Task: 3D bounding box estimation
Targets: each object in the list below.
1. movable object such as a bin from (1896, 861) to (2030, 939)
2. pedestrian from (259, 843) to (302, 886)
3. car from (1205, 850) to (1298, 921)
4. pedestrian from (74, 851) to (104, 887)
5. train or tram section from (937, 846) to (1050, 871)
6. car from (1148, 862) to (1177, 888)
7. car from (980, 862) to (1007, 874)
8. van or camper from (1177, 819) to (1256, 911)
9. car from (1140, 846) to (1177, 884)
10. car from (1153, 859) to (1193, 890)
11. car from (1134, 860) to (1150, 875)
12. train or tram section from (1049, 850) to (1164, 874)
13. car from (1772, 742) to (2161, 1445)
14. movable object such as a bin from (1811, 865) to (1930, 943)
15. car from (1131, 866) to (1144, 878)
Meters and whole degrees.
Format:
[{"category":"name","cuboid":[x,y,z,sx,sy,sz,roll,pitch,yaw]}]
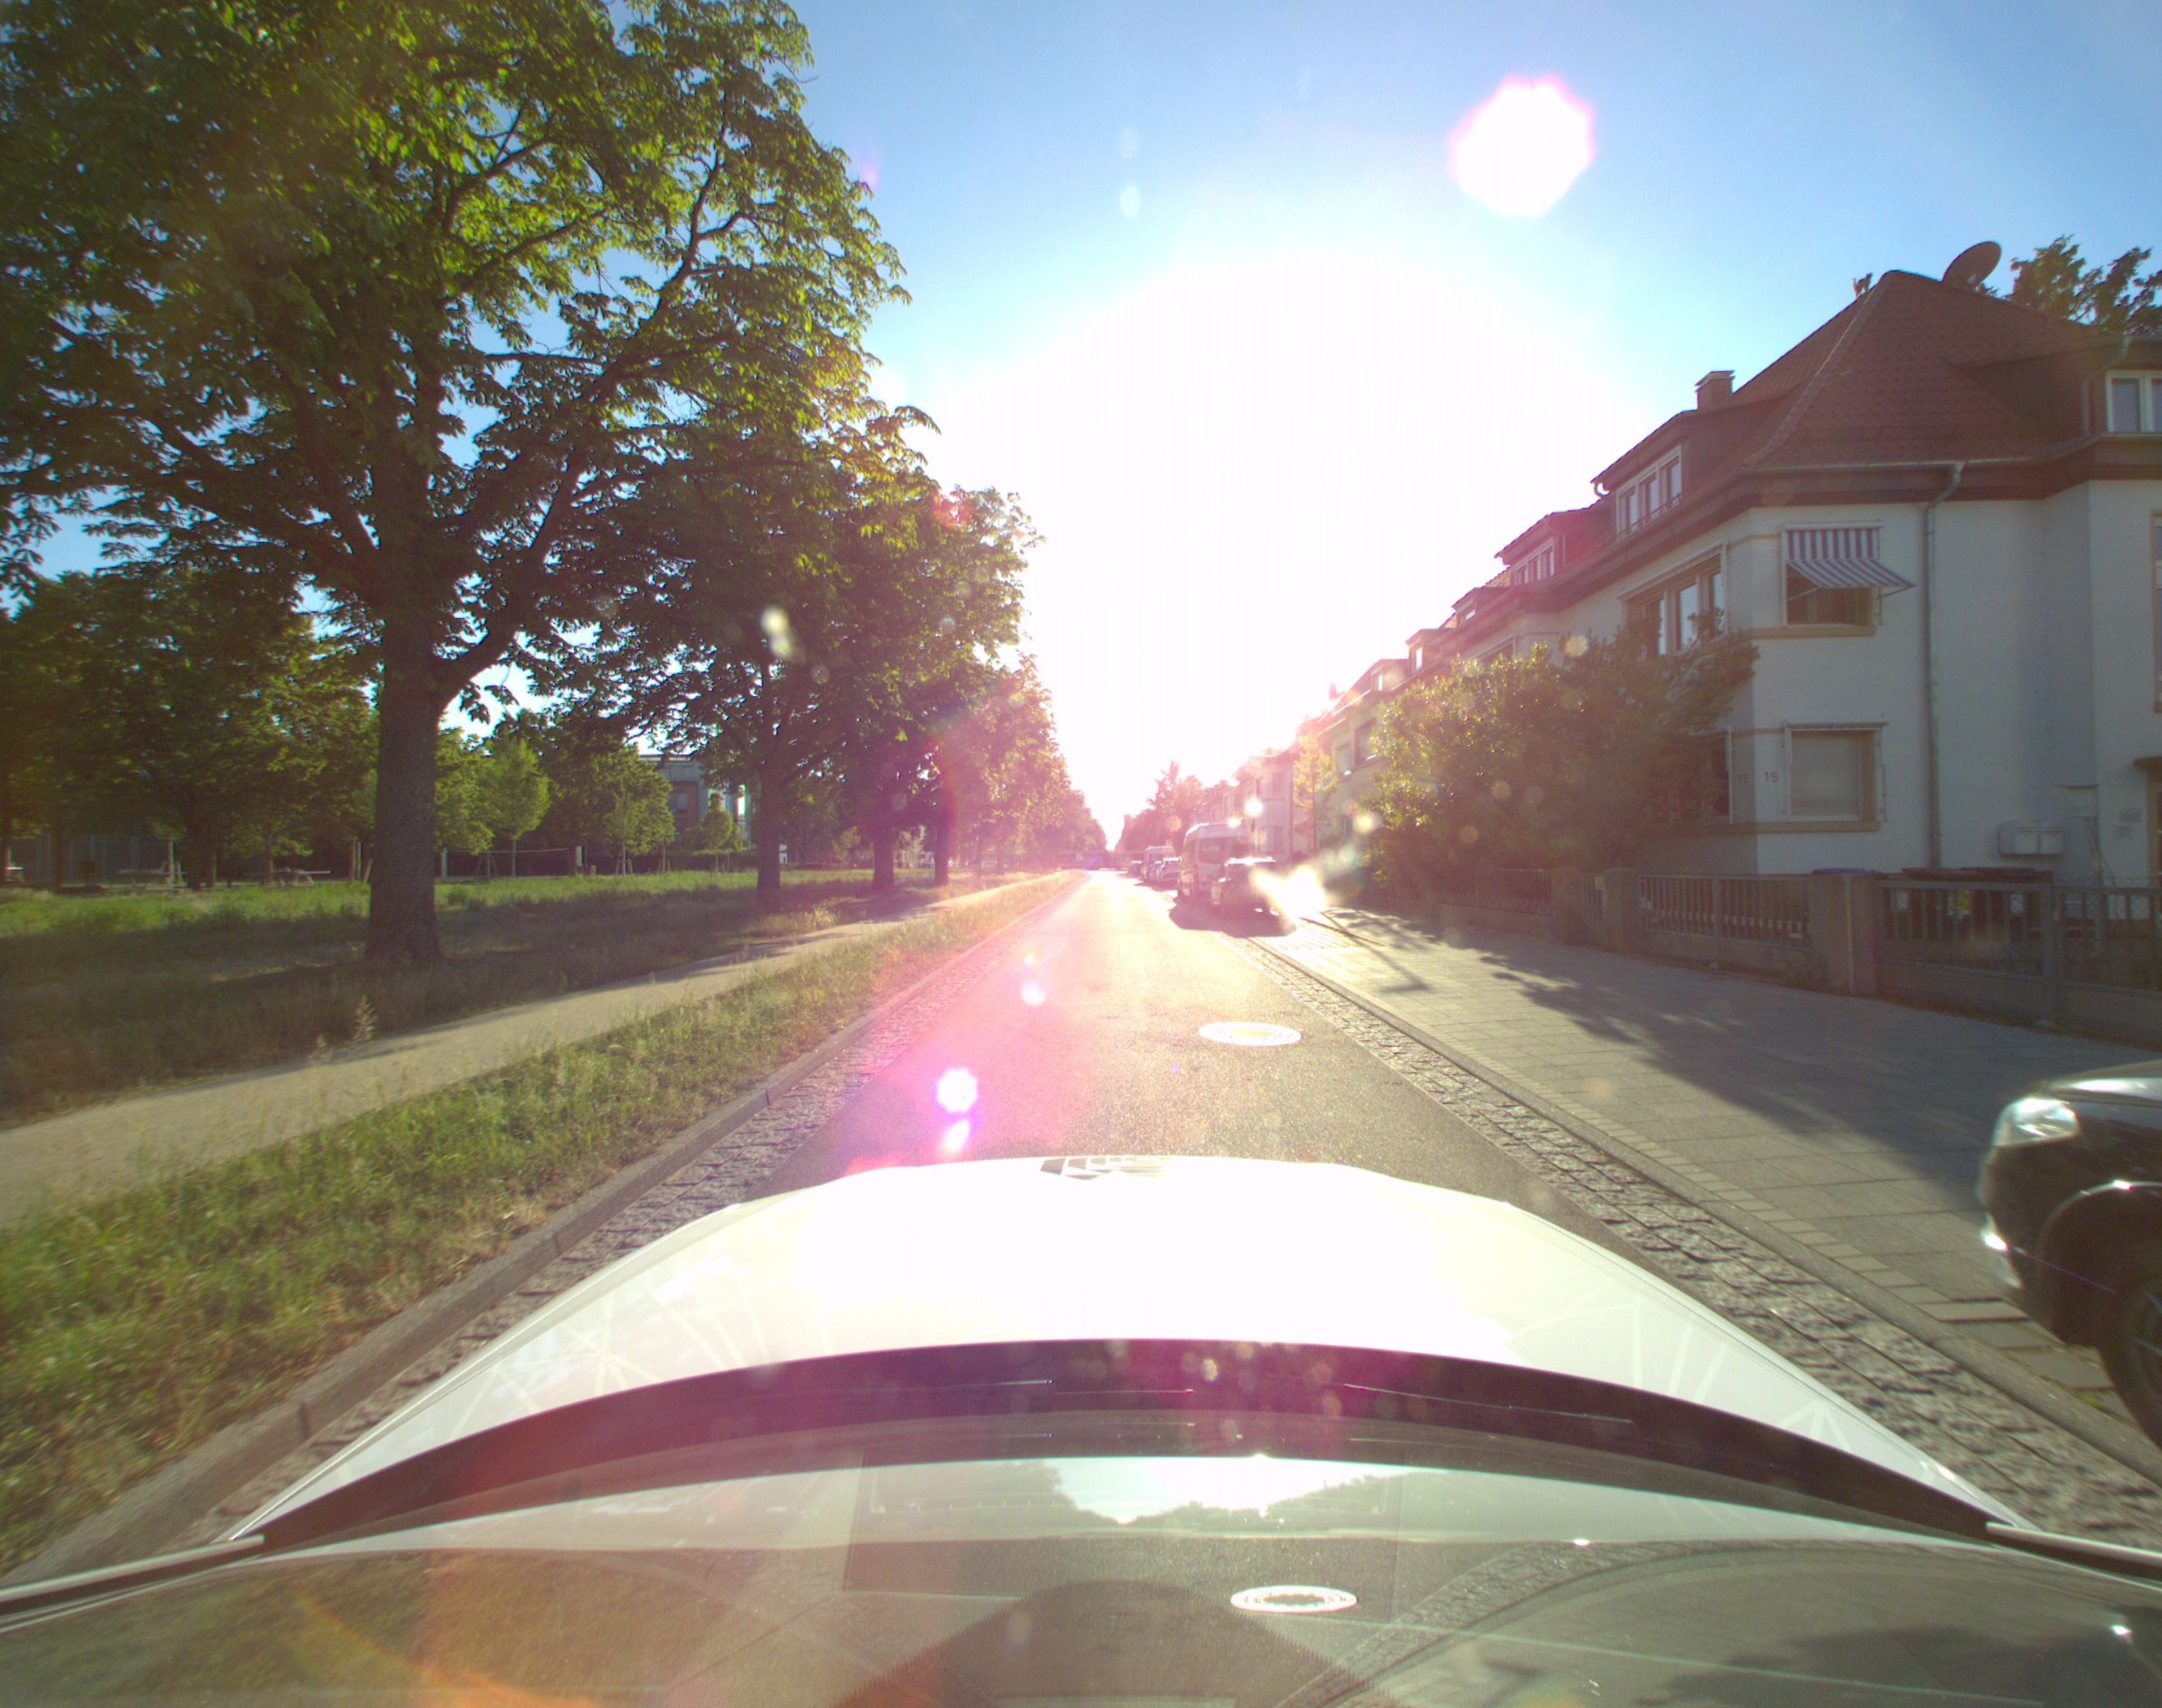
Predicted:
[{"category":"movable object such as a bin","cuboid":[12.960,0.662,11.998,1.079,1.100,0.790,0,-1,5]},{"category":"pedestrian","cuboid":[-35.410,0.455,36.017,1.044,1.881,0.798,0,-2,4]},{"category":"car","cuboid":[4.379,0.787,21.458,1.657,1.593,4.088,-3,-1,2]},{"category":"pedestrian","cuboid":[-41.933,0.642,34.427,0.587,1.479,0.499,1,-2,-8]},{"category":"train or tram section","cuboid":[-14.961,0.816,140.634,19.035,3.957,3.638,1,-1,-4]},{"category":"car","cuboid":[5.163,1.283,51.860,1.643,1.530,3.854,-2,-1,3]},{"category":"car","cuboid":[-14.120,2.267,131.620,4.341,1.764,1.995,1,-1,-7]},{"category":"van or camper","cuboid":[4.482,0.405,27.806,1.936,2.778,5.942,0,-2,2]},{"category":"car","cuboid":[5.460,0.777,58.020,2.119,2.533,5.187,-2,-1,0]},{"category":"car","cuboid":[5.211,1.125,46.463,1.831,1.636,4.131,-2,-1,0]},{"category":"car","cuboid":[6.684,1.476,89.856,1.643,1.530,3.854,-2,-1,3]},{"category":"train or tram section","cuboid":[4.404,1.359,141.875,19.735,3.957,3.640,0,-1,-3]},{"category":"car","cuboid":[3.431,0.537,0.796,1.825,1.685,4.417,-3,0,2]},{"category":"movable object such as a bin","cuboid":[11.711,0.727,12.113,0.980,1.100,0.790,0,-1,5]},{"category":"car","cuboid":[7.353,2.357,106.671,1.643,1.530,3.854,-2,-1,3]}]
